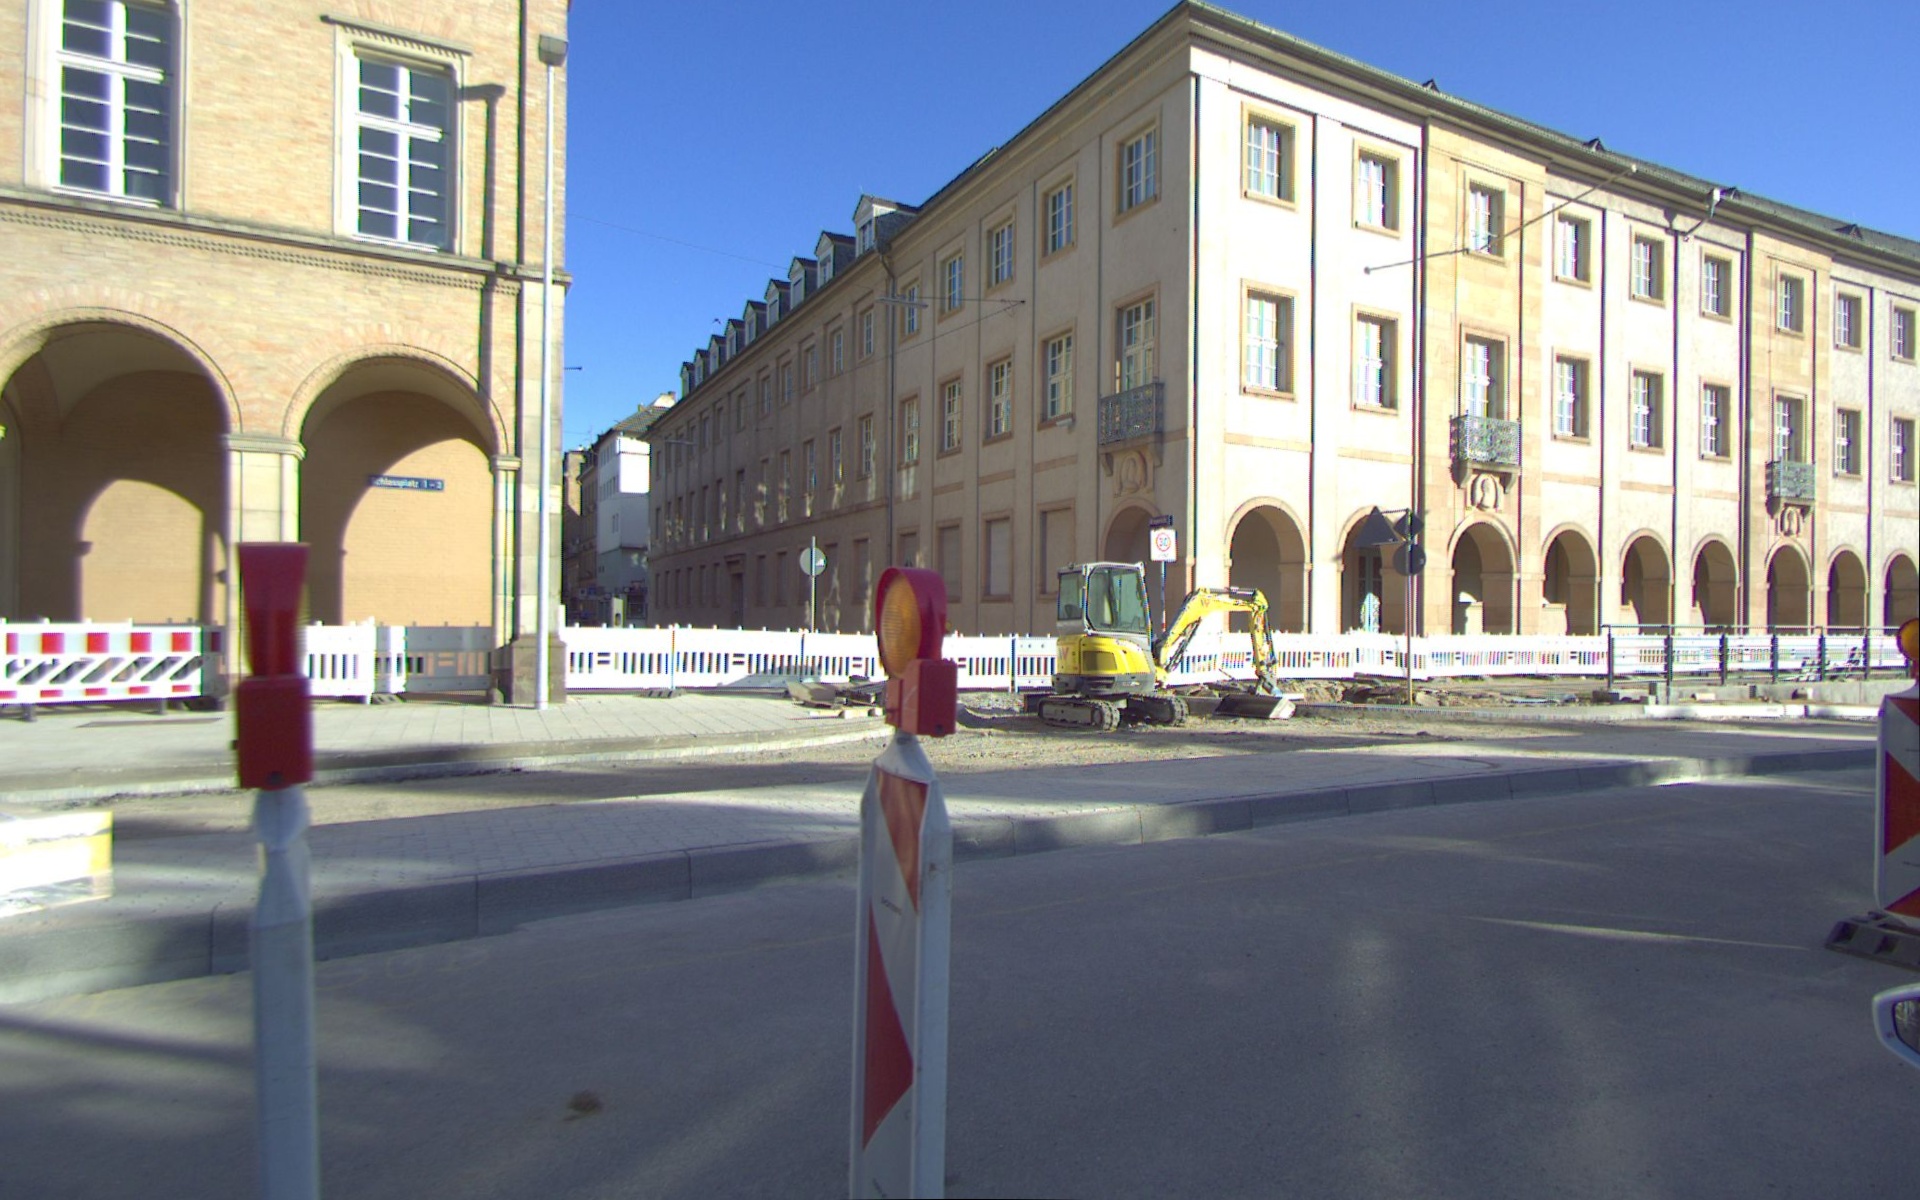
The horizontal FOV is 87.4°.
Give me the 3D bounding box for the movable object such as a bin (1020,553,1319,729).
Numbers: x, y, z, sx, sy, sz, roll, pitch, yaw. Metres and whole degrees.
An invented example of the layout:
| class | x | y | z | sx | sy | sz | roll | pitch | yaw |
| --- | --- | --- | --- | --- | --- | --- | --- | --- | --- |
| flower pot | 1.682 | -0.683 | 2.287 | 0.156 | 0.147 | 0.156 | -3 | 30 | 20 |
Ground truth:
| class | x | y | z | sx | sy | sz | roll | pitch | yaw |
| --- | --- | --- | --- | --- | --- | --- | --- | --- | --- |
| movable object such as a bin | 3.300 | 0.678 | 15.798 | 4.251 | 2.426 | 2.093 | 2 | -3 | -26 |
